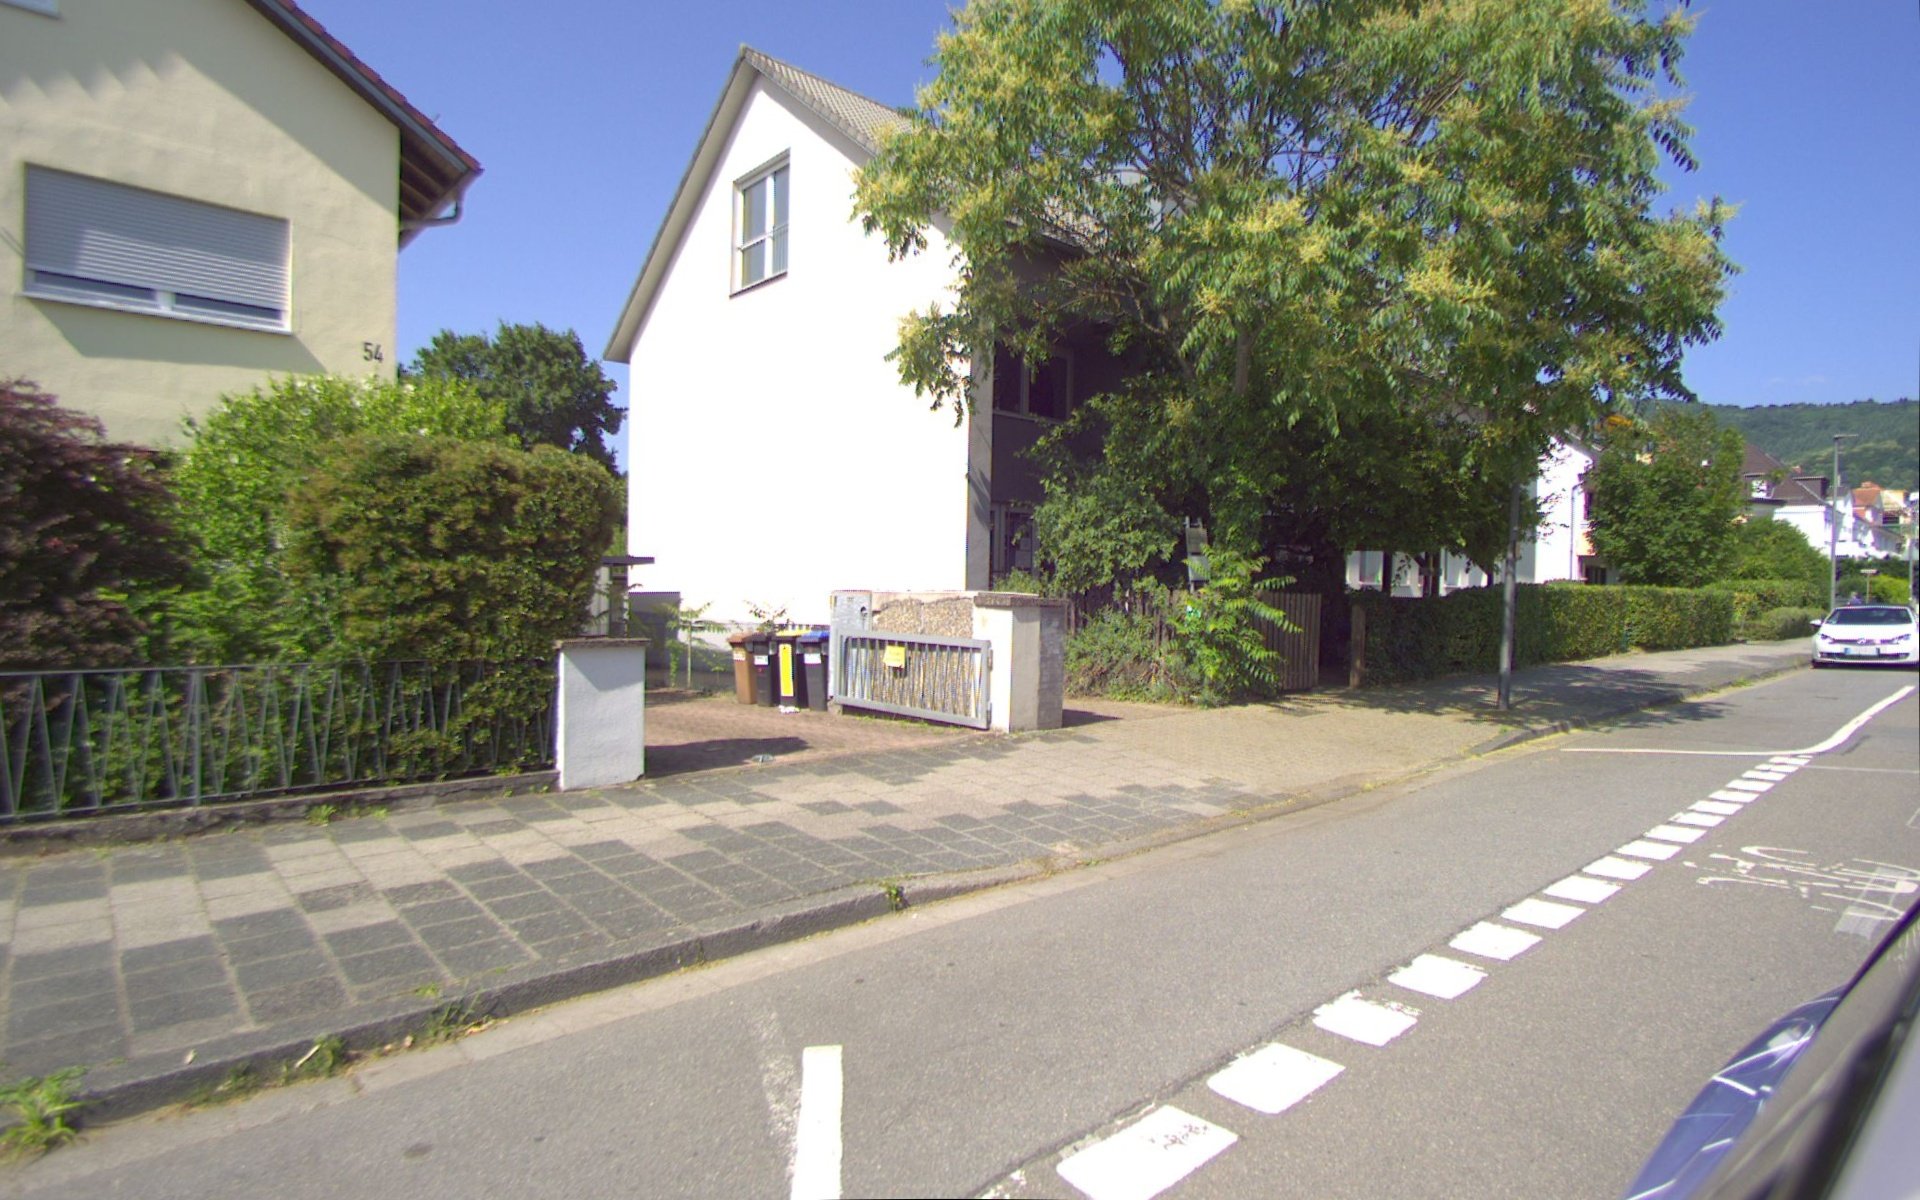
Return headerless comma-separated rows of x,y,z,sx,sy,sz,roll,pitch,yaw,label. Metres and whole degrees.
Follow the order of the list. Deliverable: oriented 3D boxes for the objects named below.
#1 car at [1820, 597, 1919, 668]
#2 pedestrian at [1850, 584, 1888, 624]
20.150,0.645,21.997,4.004,1.420,1.742,0,0,-43,car
44.586,0.172,49.646,0.889,1.896,1.183,1,1,16,pedestrian
